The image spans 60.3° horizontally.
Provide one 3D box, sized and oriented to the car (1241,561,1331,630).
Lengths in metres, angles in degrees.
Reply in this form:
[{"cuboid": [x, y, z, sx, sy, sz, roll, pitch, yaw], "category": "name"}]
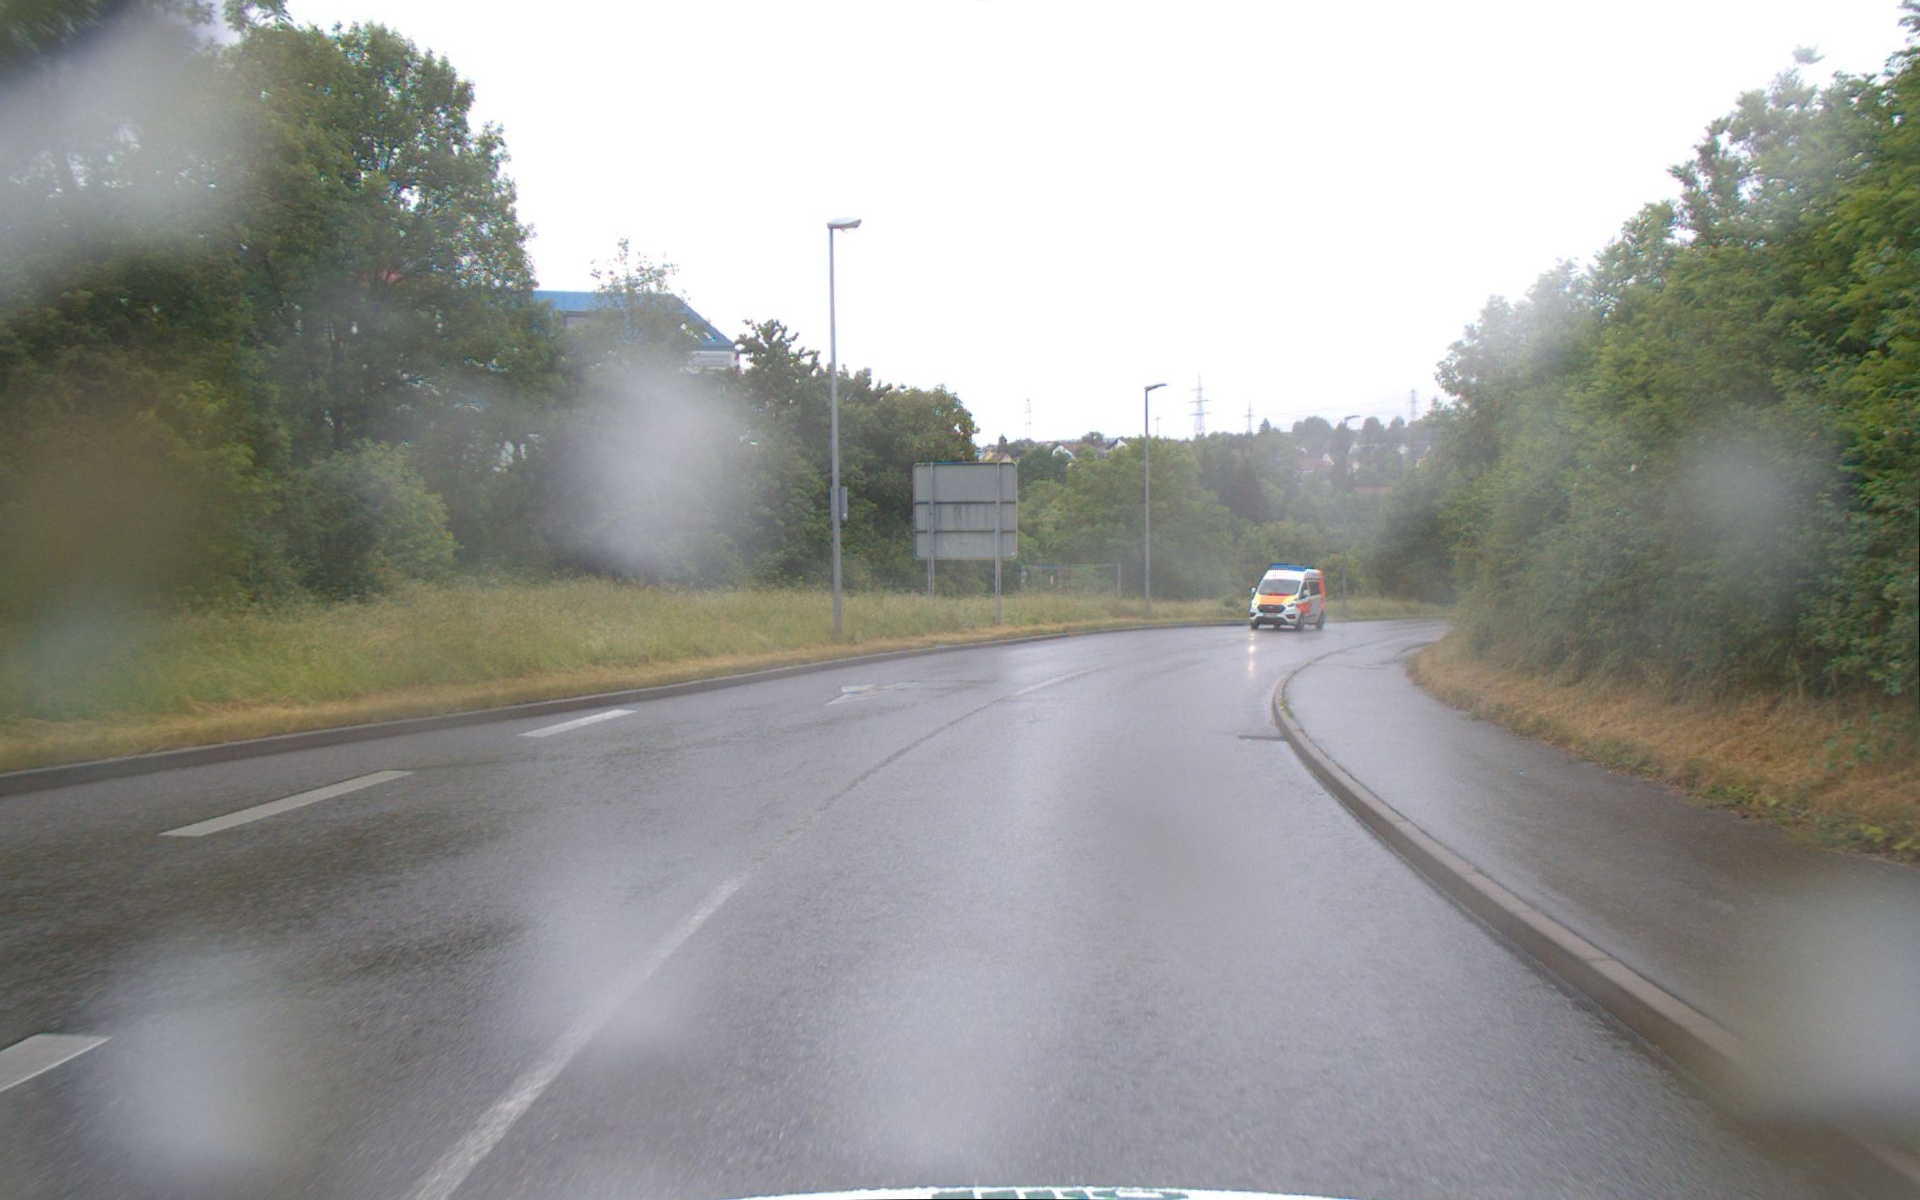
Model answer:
[{"cuboid": [12.694, -0.146, 64.079, 2.005, 2.459, 5.450, 3, 1, 26], "category": "car"}]
